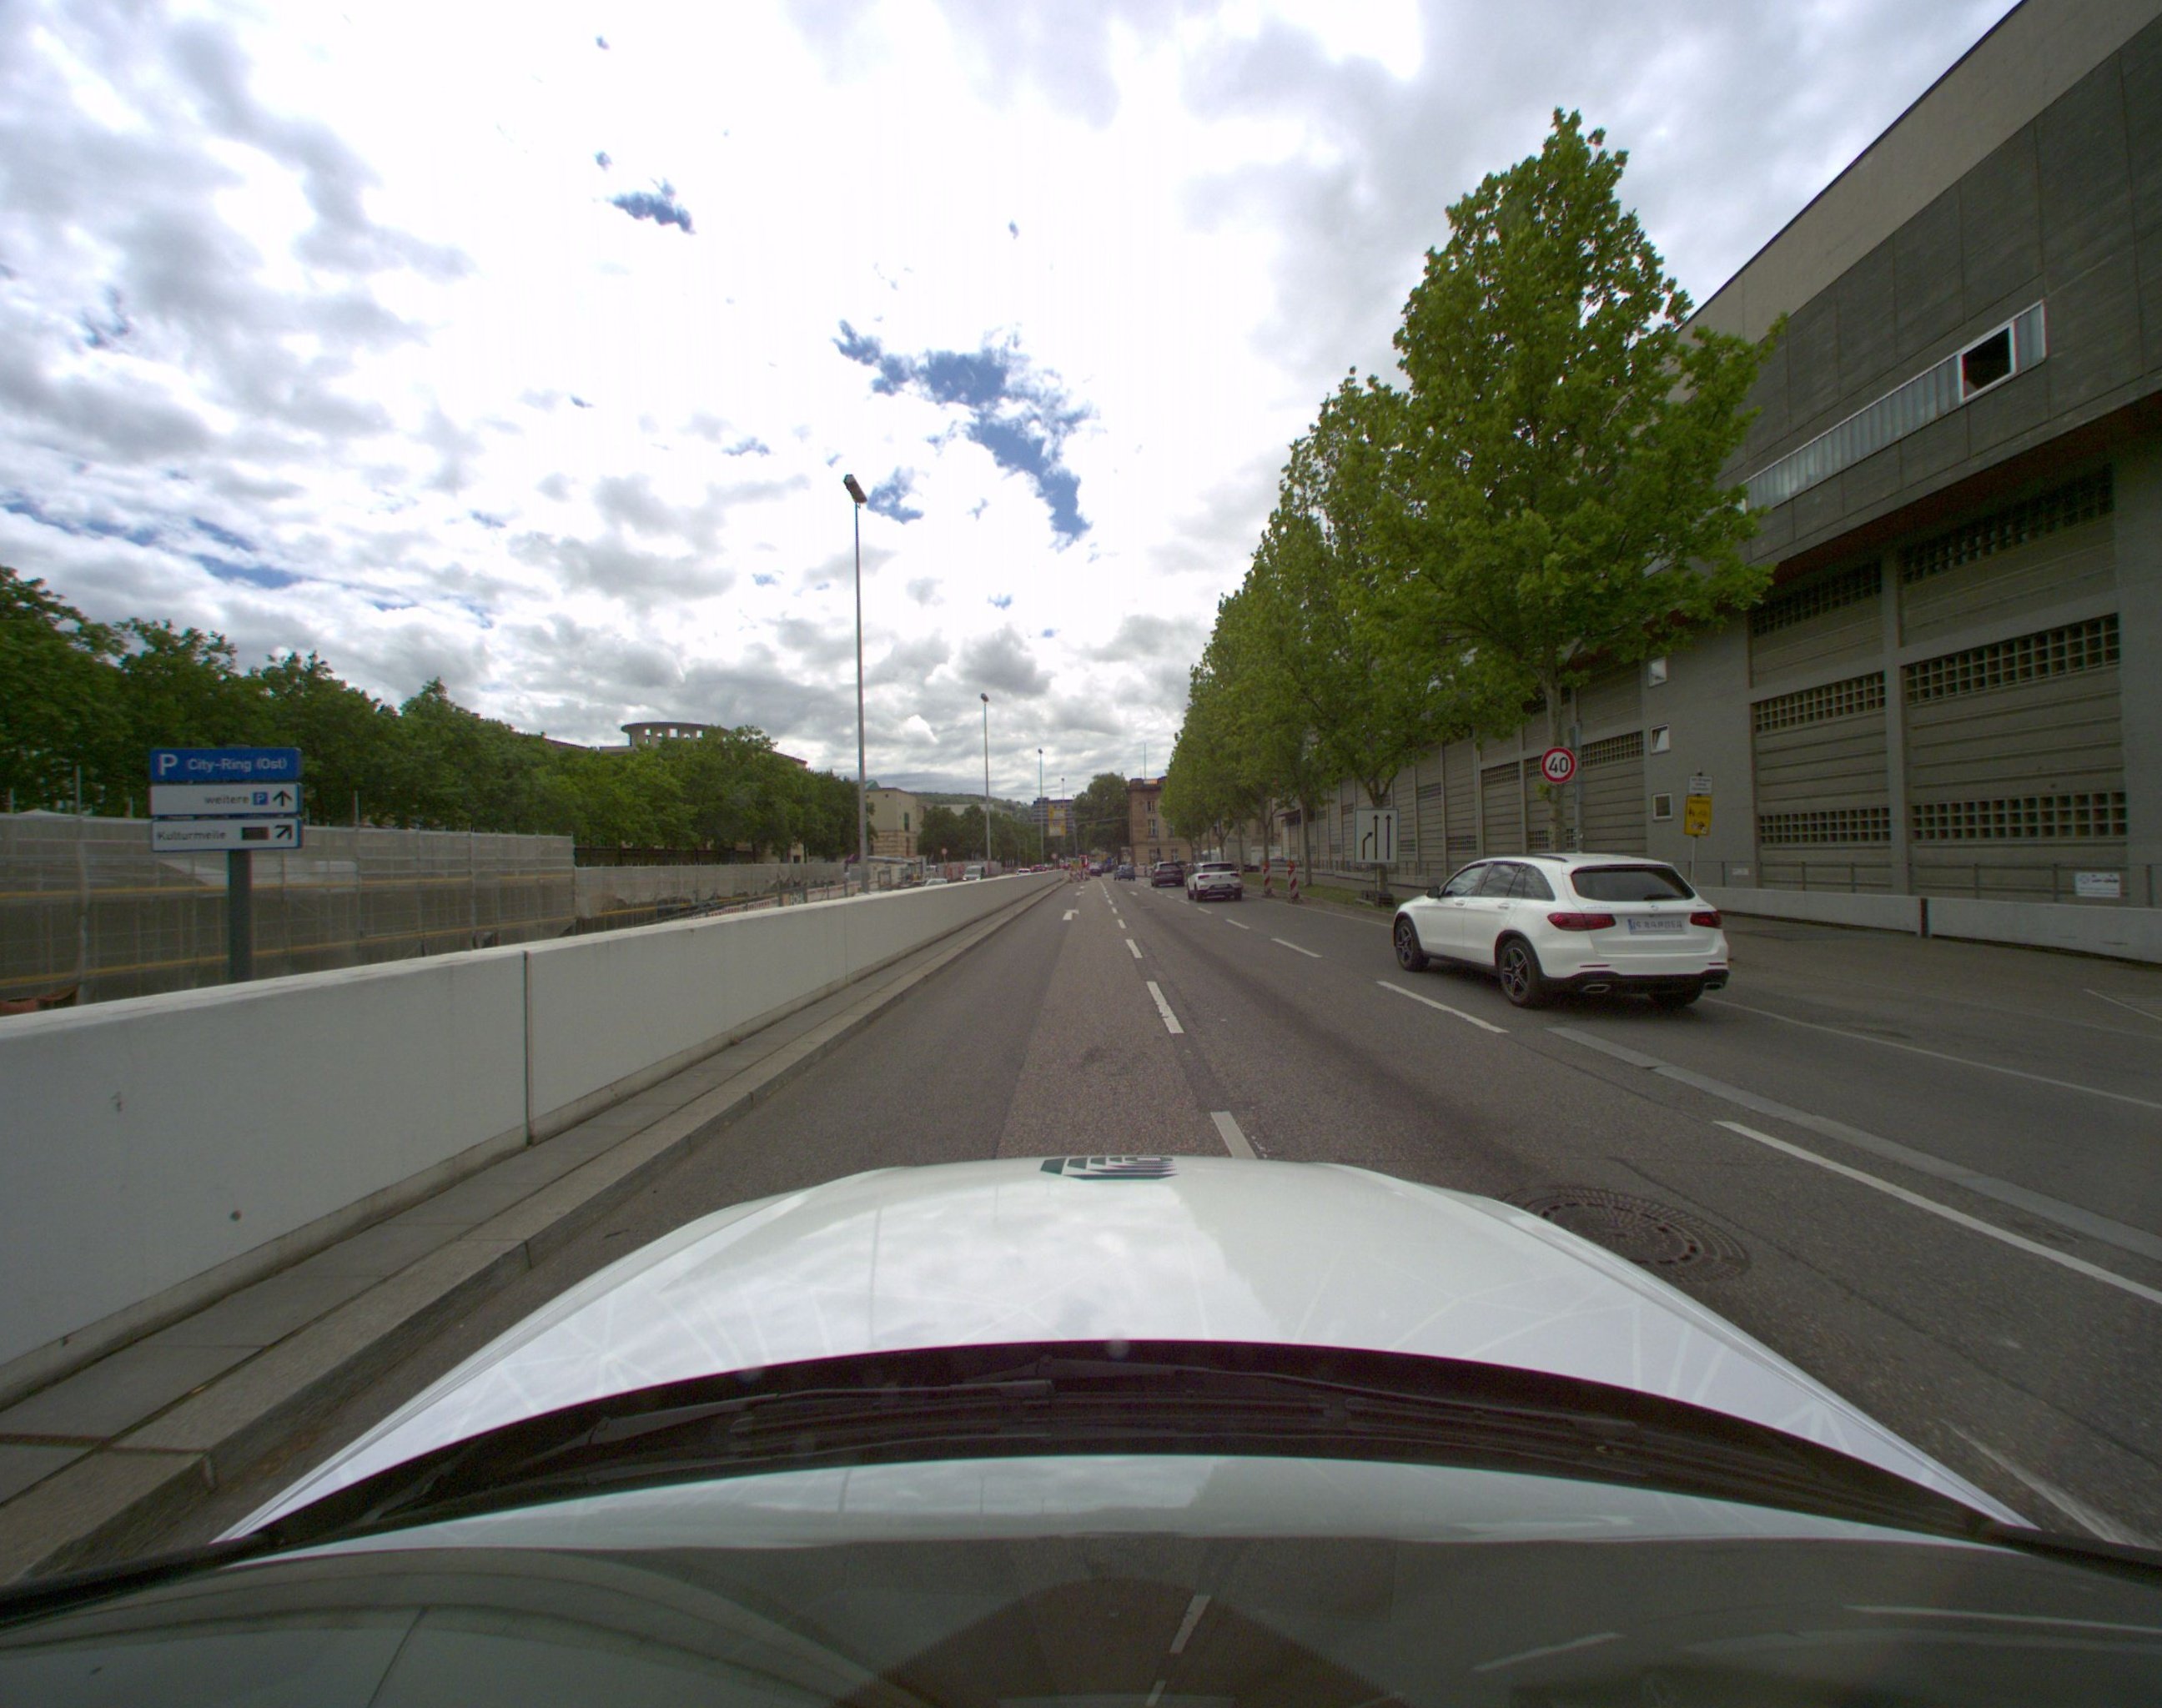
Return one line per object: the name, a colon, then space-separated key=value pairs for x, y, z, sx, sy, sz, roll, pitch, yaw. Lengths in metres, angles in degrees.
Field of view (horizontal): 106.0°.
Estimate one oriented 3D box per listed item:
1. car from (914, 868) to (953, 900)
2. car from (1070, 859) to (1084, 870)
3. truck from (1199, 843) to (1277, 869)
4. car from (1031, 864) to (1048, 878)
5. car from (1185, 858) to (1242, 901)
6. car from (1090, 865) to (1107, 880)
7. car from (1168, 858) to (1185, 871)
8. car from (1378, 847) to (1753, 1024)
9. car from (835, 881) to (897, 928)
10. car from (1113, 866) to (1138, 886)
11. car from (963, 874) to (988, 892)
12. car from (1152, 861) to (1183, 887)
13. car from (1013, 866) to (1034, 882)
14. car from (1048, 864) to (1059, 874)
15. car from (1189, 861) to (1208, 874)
car: x=-10.491 y=2.115 z=58.221 sx=1.987 sy=2.013 sz=4.001 roll=-2 pitch=1 yaw=1
car: x=-0.892 y=2.246 z=179.419 sx=2.570 sy=2.374 sz=5.534 roll=-2 pitch=0 yaw=5
truck: x=21.172 y=0.287 z=110.308 sx=9.992 sy=3.051 sz=2.569 roll=-2 pitch=-2 yaw=1
car: x=-5.154 y=2.103 z=101.209 sx=1.744 sy=1.568 sz=3.378 roll=-4 pitch=-1 yaw=2
car: x=5.330 y=0.983 z=33.217 sx=1.744 sy=1.568 sz=4.334 roll=-2 pitch=-1 yaw=2
car: x=2.268 y=2.376 z=105.999 sx=1.814 sy=1.740 sz=4.487 roll=-2 pitch=0 yaw=6
car: x=12.059 y=1.357 z=102.698 sx=1.744 sy=1.568 sz=4.332 roll=-1 pitch=-1 yaw=1
car: x=5.445 y=0.767 z=10.020 sx=1.806 sy=1.642 sz=4.549 roll=-1 pitch=0 yaw=-1
car: x=-10.758 y=2.487 z=41.056 sx=1.987 sy=2.013 sz=4.001 roll=-2 pitch=1 yaw=1
car: x=4.279 y=2.112 z=78.691 sx=1.820 sy=1.740 sz=4.472 roll=-2 pitch=0 yaw=-5
car: x=-10.028 y=2.763 z=77.523 sx=1.744 sy=1.568 sz=3.378 roll=-4 pitch=-1 yaw=2
car: x=5.700 y=1.279 z=54.107 sx=1.815 sy=1.568 sz=4.484 roll=-4 pitch=-1 yaw=4
car: x=-5.836 y=2.031 z=82.304 sx=1.744 sy=1.568 sz=3.378 roll=0 pitch=-1 yaw=2
car: x=-4.497 y=2.477 z=133.589 sx=1.746 sy=1.568 sz=4.328 roll=-1 pitch=-1 yaw=-2
car: x=14.687 y=1.680 z=102.241 sx=1.849 sy=1.568 sz=4.332 roll=-1 pitch=-1 yaw=1
